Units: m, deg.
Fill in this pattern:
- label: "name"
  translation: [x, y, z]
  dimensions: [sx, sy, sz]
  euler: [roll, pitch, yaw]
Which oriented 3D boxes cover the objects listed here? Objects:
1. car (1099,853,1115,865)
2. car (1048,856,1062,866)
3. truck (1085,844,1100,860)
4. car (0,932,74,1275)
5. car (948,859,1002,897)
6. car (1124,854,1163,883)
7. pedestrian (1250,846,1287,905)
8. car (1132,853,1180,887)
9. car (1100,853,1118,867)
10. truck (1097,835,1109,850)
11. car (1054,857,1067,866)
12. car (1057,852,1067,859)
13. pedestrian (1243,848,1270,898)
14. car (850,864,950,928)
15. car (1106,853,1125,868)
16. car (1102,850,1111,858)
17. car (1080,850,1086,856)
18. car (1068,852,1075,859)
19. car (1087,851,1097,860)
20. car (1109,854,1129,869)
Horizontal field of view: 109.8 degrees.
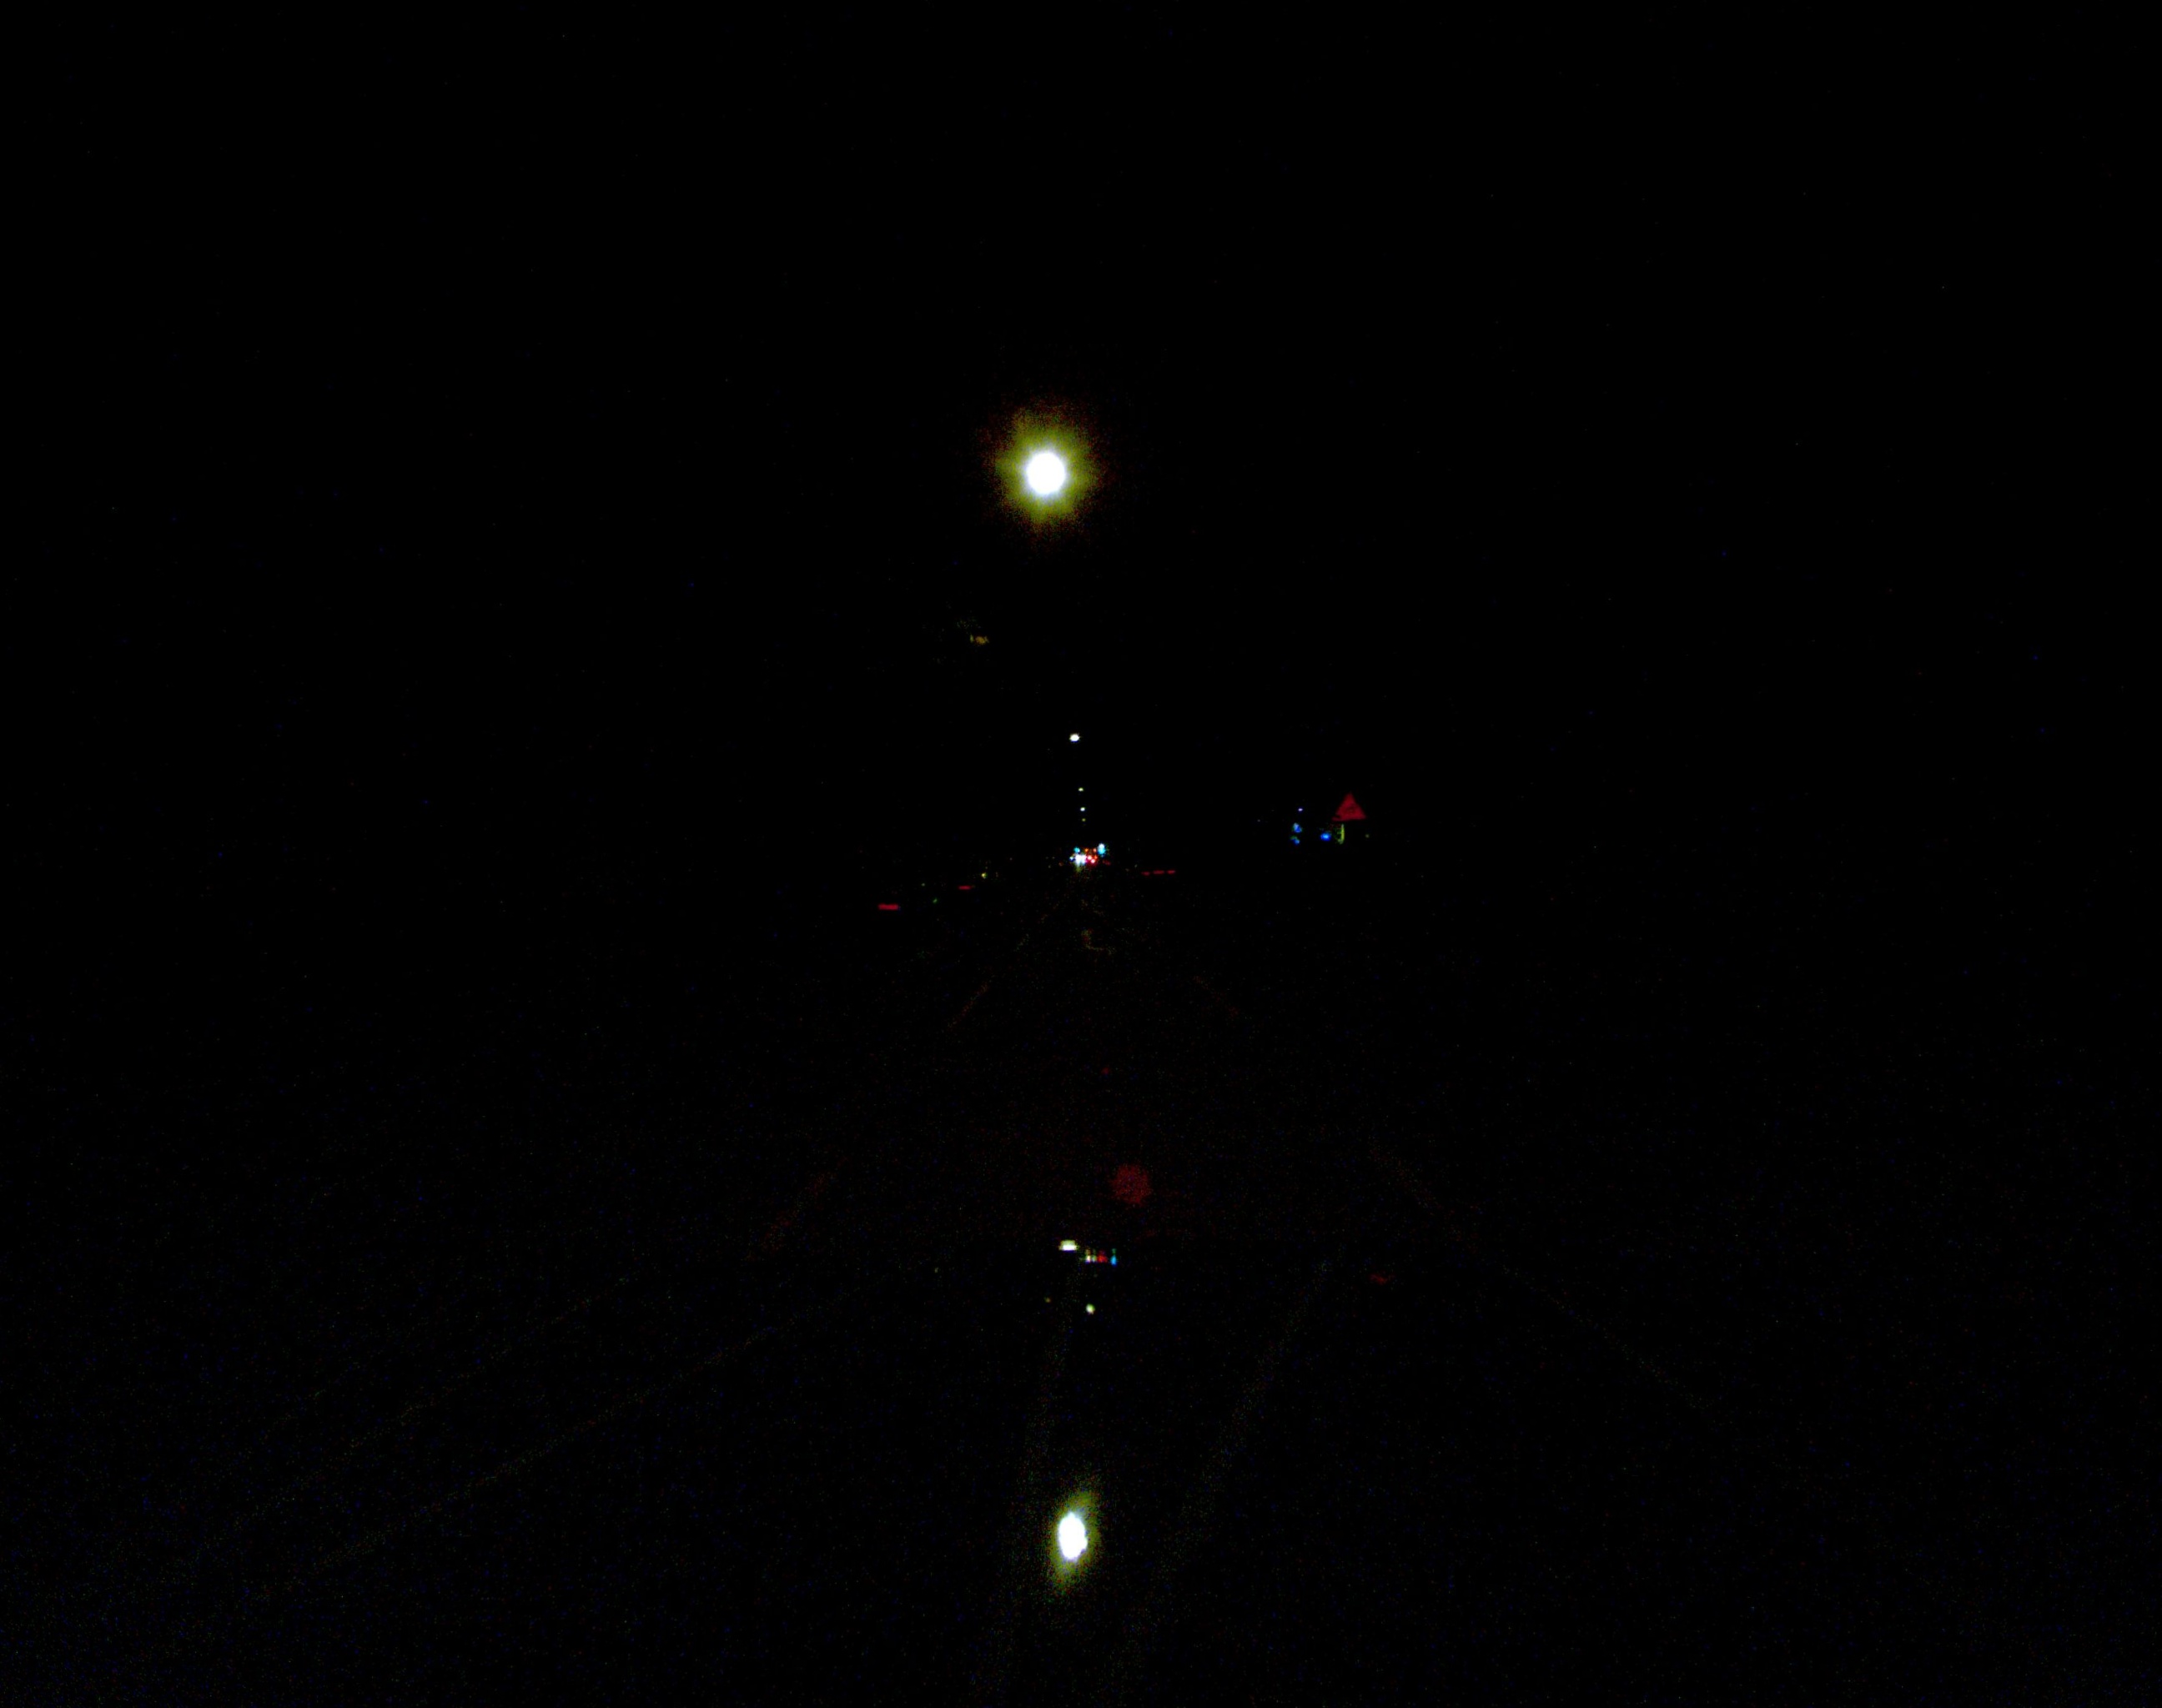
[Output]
- label: "car"
  translation: [3.633, 0.683, 106.169]
  dimensions: [1.874, 1.635, 3.999]
  euler: [-2, 0, -3]
- label: "car"
  translation: [-3.876, 1.017, 114.242]
  dimensions: [1.874, 1.407, 4.000]
  euler: [-2, 0, 0]
- label: "truck"
  translation: [2.761, -0.442, 176.380]
  dimensions: [3.222, 3.359, 8.851]
  euler: [-2, 0, 1]
- label: "car"
  translation: [-5.550, 1.099, 1.744]
  dimensions: [1.672, 1.476, 3.603]
  euler: [0, 0, 0]
- label: "car"
  translation: [-4.705, 1.030, 34.239]
  dimensions: [1.742, 1.588, 4.359]
  euler: [0, 0, 1]
- label: "car"
  translation: [3.616, 0.816, 44.505]
  dimensions: [1.864, 1.458, 3.897]
  euler: [-4, 0, -1]
- label: "pedestrian"
  translation: [5.493, 0.602, 22.318]
  dimensions: [0.744, 1.662, 1.103]
  euler: [-2, 1, 0]
- label: "car"
  translation: [3.799, 0.780, 39.147]
  dimensions: [1.864, 1.523, 4.587]
  euler: [-4, 0, -1]
- label: "car"
  translation: [3.583, 0.776, 97.786]
  dimensions: [1.874, 1.635, 3.999]
  euler: [-2, 0, -3]
- label: "truck"
  translation: [4.157, -2.170, 141.951]
  dimensions: [2.084, 2.562, 6.874]
  euler: [-2, 0, 1]
- label: "car"
  translation: [-3.289, 1.221, 121.362]
  dimensions: [1.874, 1.407, 4.000]
  euler: [-2, 0, 0]
- label: "car"
  translation: [-3.666, 0.277, 150.824]
  dimensions: [1.874, 1.407, 4.000]
  euler: [-2, 0, 0]
- label: "pedestrian"
  translation: [6.158, 0.652, 26.710]
  dimensions: [0.670, 1.716, 0.866]
  euler: [-2, 0, -2]
- label: "car"
  translation: [-4.818, 1.065, 20.835]
  dimensions: [1.865, 1.544, 4.044]
  euler: [0, 0, -2]
- label: "car"
  translation: [4.110, 0.782, 91.600]
  dimensions: [1.874, 1.635, 3.999]
  euler: [-2, 0, -3]
- label: "car"
  translation: [5.464, 0.017, 166.277]
  dimensions: [1.873, 1.551, 4.353]
  euler: [-2, 0, 1]
- label: "car"
  translation: [0.594, -0.182, 217.783]
  dimensions: [1.775, 1.672, 3.814]
  euler: [-2, 0, 0]
- label: "car"
  translation: [-2.642, 0.412, 205.859]
  dimensions: [1.793, 1.829, 3.845]
  euler: [-2, 0, -1]
- label: "car"
  translation: [2.281, 0.266, 155.938]
  dimensions: [1.873, 1.635, 4.000]
  euler: [-2, 0, 1]
- label: "car"
  translation: [4.347, 0.813, 87.102]
  dimensions: [1.874, 1.635, 3.999]
  euler: [-2, 0, -3]
